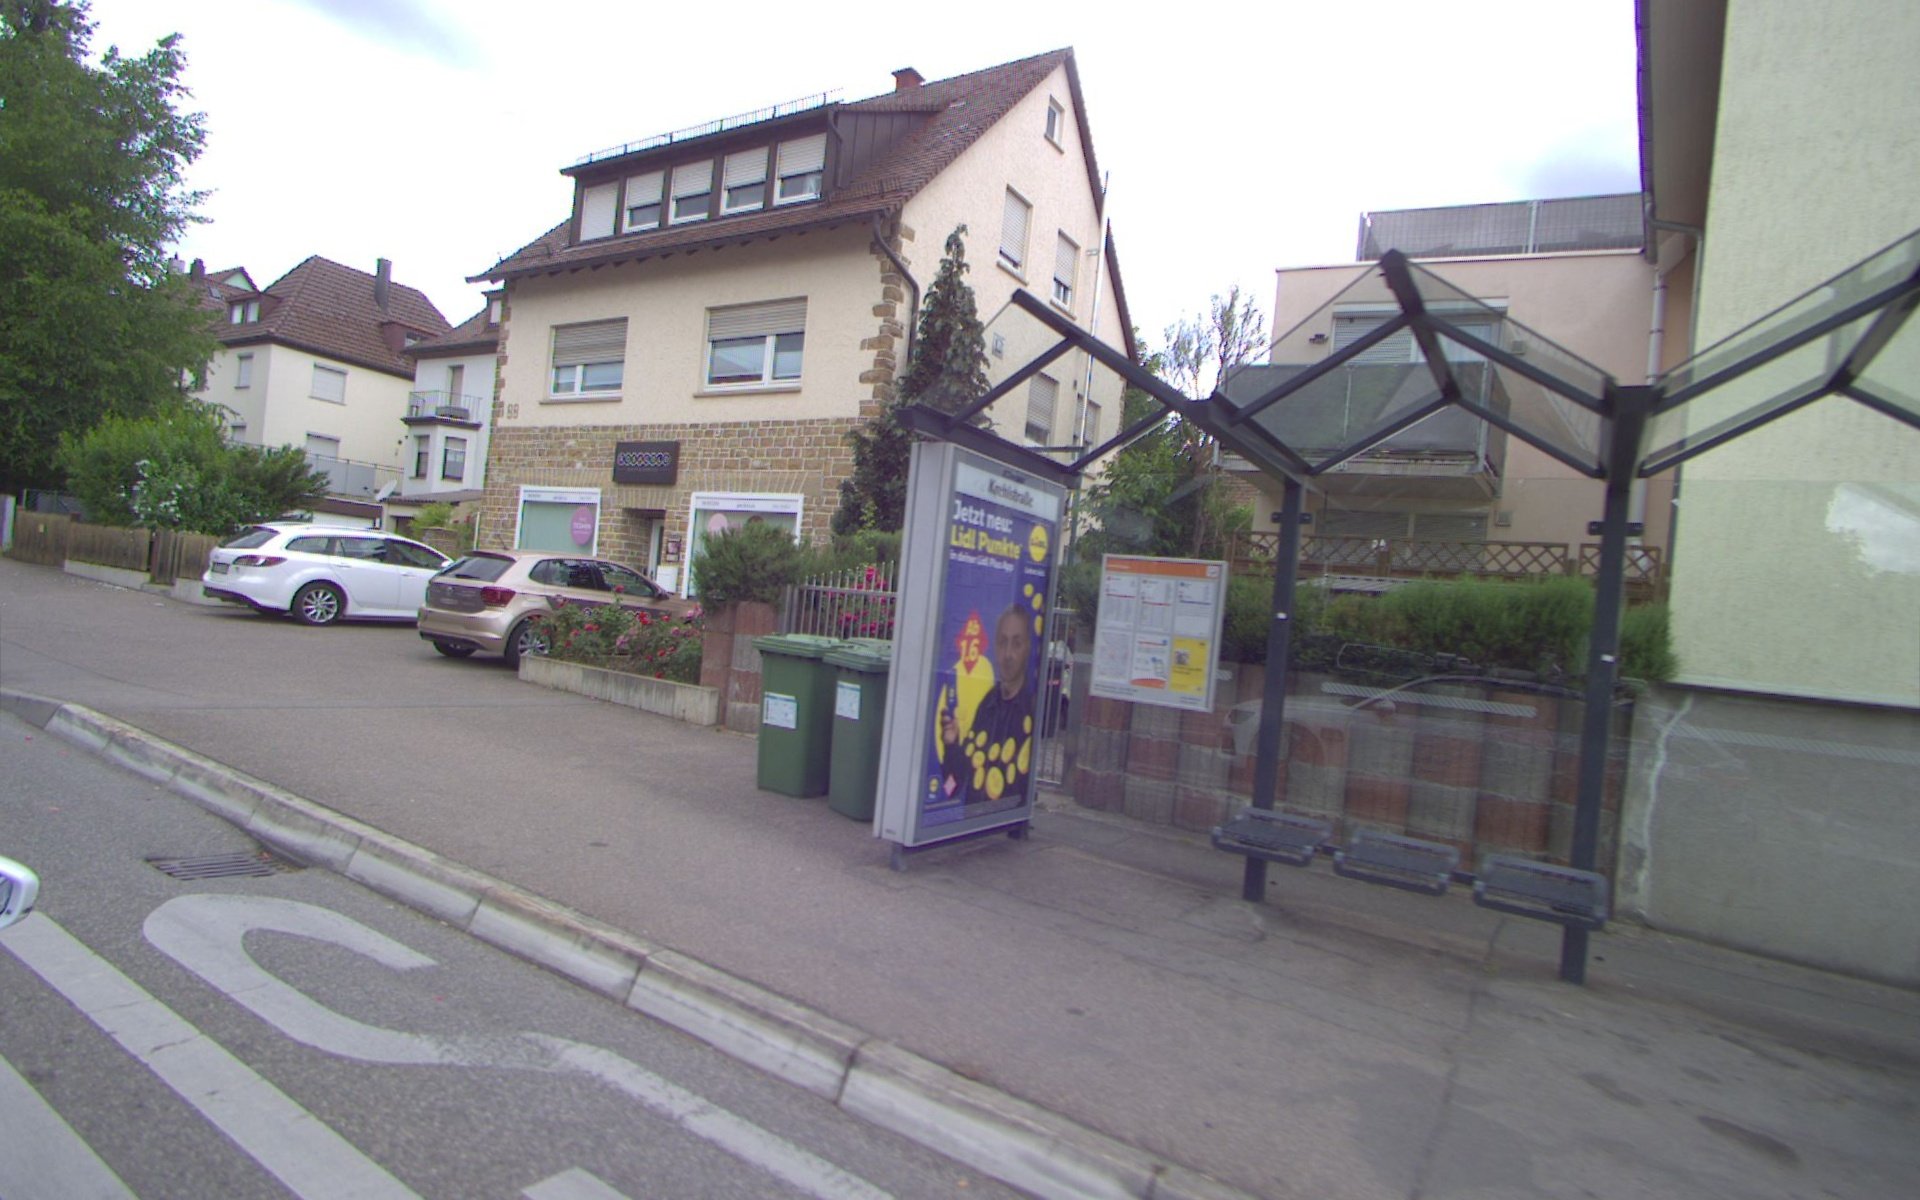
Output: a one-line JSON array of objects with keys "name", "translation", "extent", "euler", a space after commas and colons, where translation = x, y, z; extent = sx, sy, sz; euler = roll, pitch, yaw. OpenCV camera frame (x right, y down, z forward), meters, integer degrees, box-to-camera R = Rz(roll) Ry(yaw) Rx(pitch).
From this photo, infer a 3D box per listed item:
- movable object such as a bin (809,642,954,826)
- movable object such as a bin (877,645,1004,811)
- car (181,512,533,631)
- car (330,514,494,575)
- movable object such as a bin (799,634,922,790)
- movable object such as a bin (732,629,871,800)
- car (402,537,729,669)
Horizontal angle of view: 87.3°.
[{"name": "movable object such as a bin", "translation": [-0.508, 0.848, 6.420], "extent": [0.631, 1.059, 0.587], "euler": [7, -1, -30]}, {"name": "movable object such as a bin", "translation": [-0.129, 0.885, 7.192], "extent": [0.576, 1.059, 0.637], "euler": [6, 0, 28]}, {"name": "car", "translation": [-9.421, -0.381, 16.076], "extent": [1.836, 1.507, 4.418], "euler": [6, 1, 35]}, {"name": "car", "translation": [-16.741, -1.640, 30.951], "extent": [1.805, 1.411, 4.089], "euler": [1, -3, 28]}, {"name": "movable object such as a bin", "translation": [-0.741, 0.825, 7.601], "extent": [0.576, 1.059, 0.637], "euler": [6, 0, 28]}, {"name": "movable object such as a bin", "translation": [-1.089, 0.773, 6.961], "extent": [0.576, 1.059, 0.638], "euler": [6, -1, 28]}, {"name": "car", "translation": [-5.046, 0.082, 13.371], "extent": [1.613, 1.420, 3.805], "euler": [6, 1, 31]}]
